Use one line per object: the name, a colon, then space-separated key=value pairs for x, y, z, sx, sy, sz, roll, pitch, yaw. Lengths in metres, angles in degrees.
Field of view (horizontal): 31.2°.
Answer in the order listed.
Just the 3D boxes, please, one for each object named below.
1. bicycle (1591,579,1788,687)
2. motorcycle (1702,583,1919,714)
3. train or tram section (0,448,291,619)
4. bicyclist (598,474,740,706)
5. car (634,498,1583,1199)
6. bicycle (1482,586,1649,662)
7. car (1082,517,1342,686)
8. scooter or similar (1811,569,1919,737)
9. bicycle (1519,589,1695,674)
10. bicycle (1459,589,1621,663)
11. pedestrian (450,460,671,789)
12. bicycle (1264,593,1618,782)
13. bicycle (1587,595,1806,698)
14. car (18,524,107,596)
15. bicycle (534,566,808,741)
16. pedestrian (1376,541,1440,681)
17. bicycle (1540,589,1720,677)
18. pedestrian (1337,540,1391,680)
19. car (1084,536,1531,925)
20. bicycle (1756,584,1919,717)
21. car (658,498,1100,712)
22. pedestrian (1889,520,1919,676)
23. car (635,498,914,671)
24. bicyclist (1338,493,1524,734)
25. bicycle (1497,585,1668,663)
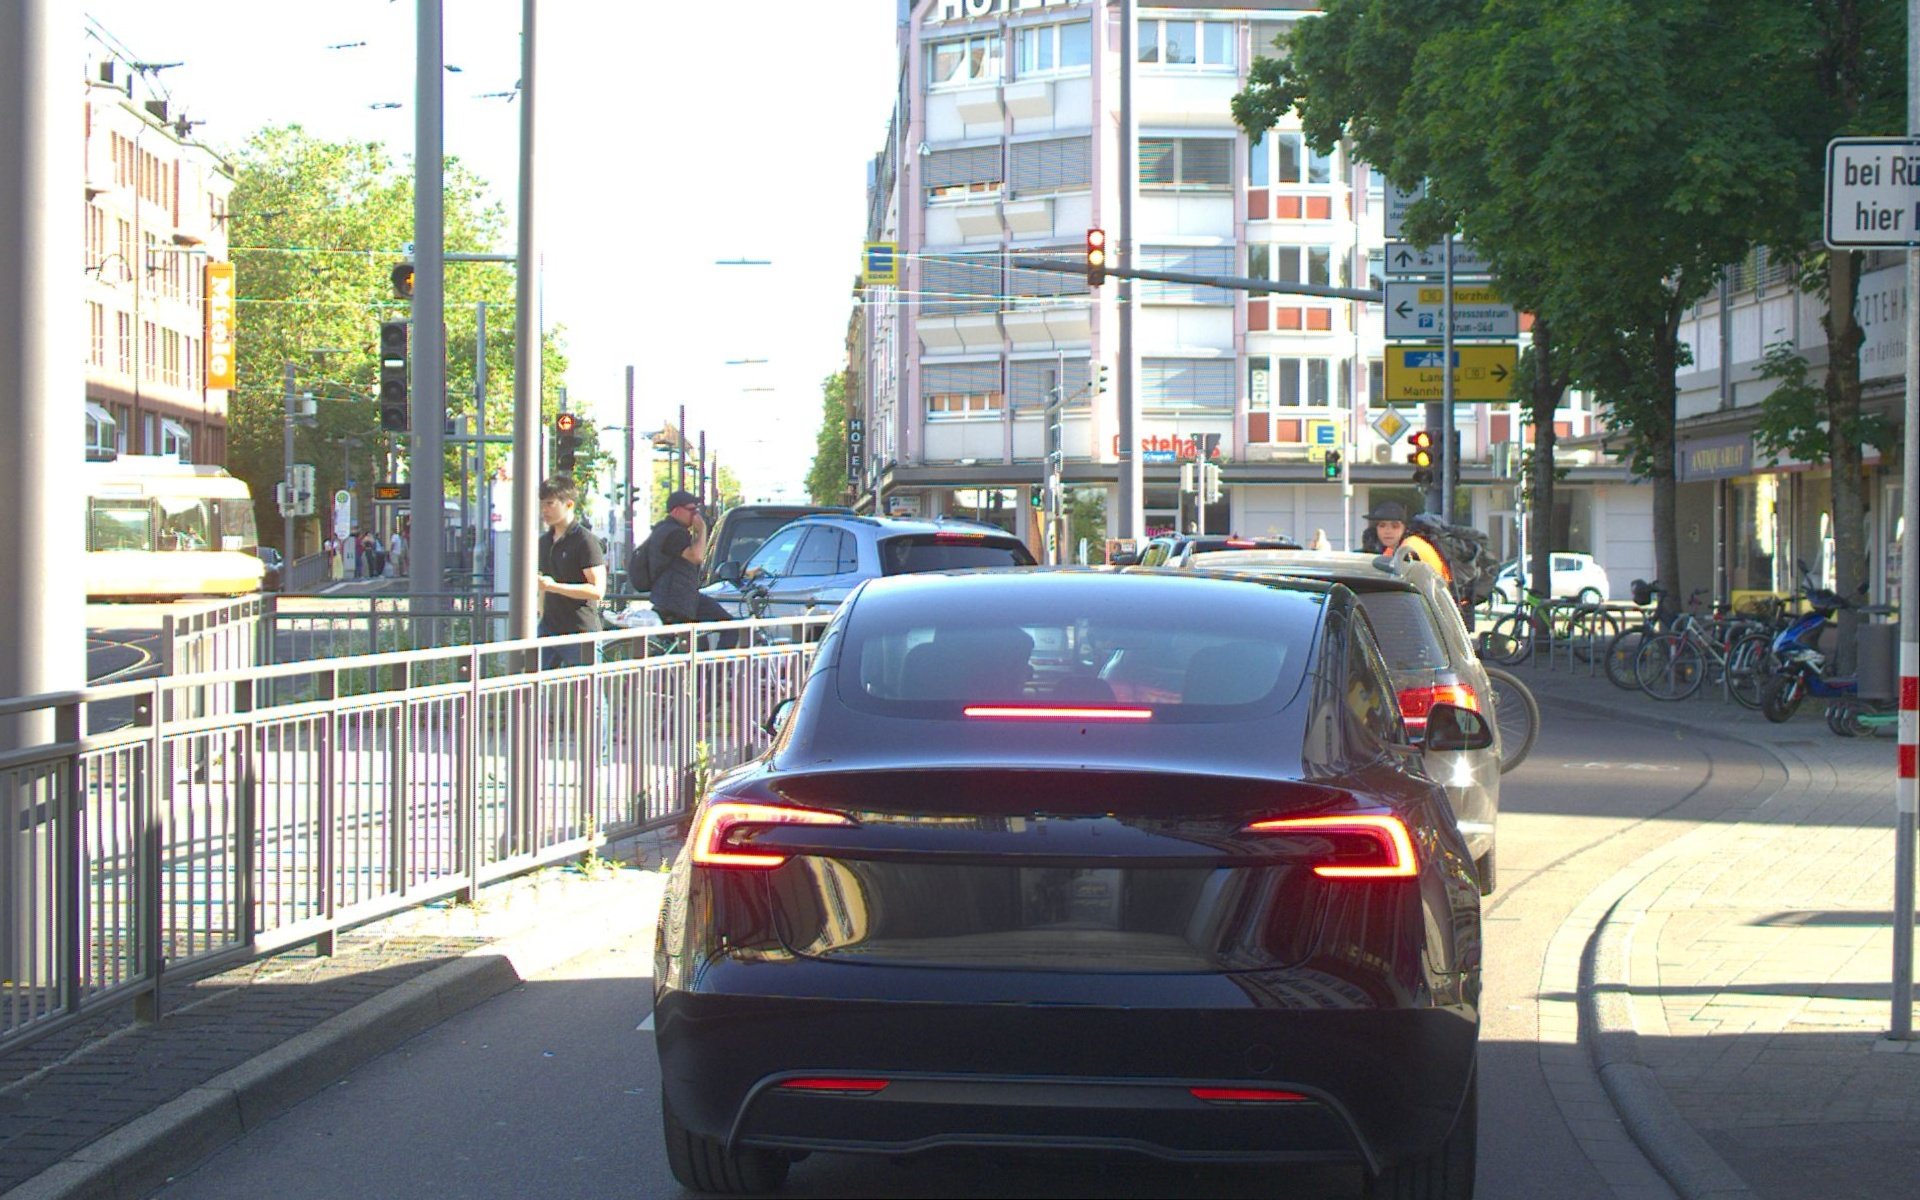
bicycle: x=7.626 y=0.340 z=35.960 sx=1.924 sy=1.093 sz=0.555 roll=1 pitch=0 yaw=-1
motorcycle: x=7.960 y=0.446 z=31.847 sx=1.991 sy=1.124 sz=0.596 roll=2 pitch=0 yaw=-2
train or tram section: x=-22.123 y=-1.563 z=77.448 sx=2.643 sy=3.706 sz=15.348 roll=3 pitch=1 yaw=41
bicyclist: x=-1.938 y=-0.066 z=22.861 sx=0.836 sy=1.494 sz=0.560 roll=2 pitch=0 yaw=-10
car: x=0.185 y=0.543 z=8.711 sx=1.848 sy=1.479 sz=3.788 roll=2 pitch=1 yaw=-3
bicycle: x=7.401 y=0.293 z=42.038 sx=1.924 sy=0.887 sz=0.526 roll=1 pitch=0 yaw=-1
car: x=2.436 y=-0.012 z=34.125 sx=1.824 sy=1.514 sz=3.650 roll=2 pitch=1 yaw=-7
scooter or similar: x=7.580 y=0.420 z=27.450 sx=1.408 sy=1.312 sz=0.696 roll=0 pitch=-1 yaw=-27
bicycle: x=7.514 y=0.359 z=39.966 sx=1.924 sy=0.947 sz=0.526 roll=1 pitch=0 yaw=-1
bicycle: x=7.272 y=0.325 z=43.126 sx=1.924 sy=0.887 sz=0.526 roll=1 pitch=0 yaw=-1
pedestrian: x=-2.167 y=0.136 z=18.633 sx=1.004 sy=1.736 sz=0.529 roll=2 pitch=0 yaw=-27
bicycle: x=2.954 y=0.534 z=21.166 sx=1.972 sy=1.068 sz=0.775 roll=2 pitch=0 yaw=-15
bicycle: x=7.290 y=0.458 z=34.051 sx=2.051 sy=0.979 sz=0.483 roll=1 pitch=0 yaw=-1
car: x=-26.586 y=-1.200 z=101.964 sx=1.993 sy=2.007 sz=4.001 roll=2 pitch=1 yaw=-7
bicycle: x=-1.931 y=0.353 z=22.895 sx=1.727 sy=1.084 sz=0.678 roll=2 pitch=0 yaw=-10
pedestrian: x=5.223 y=0.118 z=40.142 sx=0.629 sy=1.608 sz=0.643 roll=2 pitch=1 yaw=1
bicycle: x=7.586 y=0.373 z=38.952 sx=1.924 sy=0.947 sz=0.526 roll=1 pitch=0 yaw=-1
pedestrian: x=4.946 y=0.112 z=42.091 sx=0.562 sy=1.677 sz=0.750 roll=2 pitch=1 yaw=3
car: x=1.607 y=0.458 z=15.173 sx=1.654 sy=1.413 sz=3.999 roll=2 pitch=1 yaw=8
bicycle: x=8.005 y=0.440 z=29.855 sx=2.051 sy=1.118 sz=0.483 roll=1 pitch=0 yaw=-1
car: x=-0.735 y=-0.007 z=27.156 sx=1.783 sy=1.514 sz=4.219 roll=2 pitch=1 yaw=-27
pedestrian: x=10.177 y=-0.024 z=36.334 sx=0.531 sy=1.636 sz=0.606 roll=0 pitch=0 yaw=0
car: x=-1.878 y=-0.183 z=33.466 sx=1.823 sy=1.514 sz=4.219 roll=2 pitch=1 yaw=-15
bicyclist: x=2.901 y=0.080 z=21.214 sx=0.907 sy=1.433 sz=0.629 roll=2 pitch=0 yaw=-16
bicycle: x=7.432 y=0.287 z=41.068 sx=1.924 sy=0.885 sz=0.526 roll=1 pitch=0 yaw=-1
